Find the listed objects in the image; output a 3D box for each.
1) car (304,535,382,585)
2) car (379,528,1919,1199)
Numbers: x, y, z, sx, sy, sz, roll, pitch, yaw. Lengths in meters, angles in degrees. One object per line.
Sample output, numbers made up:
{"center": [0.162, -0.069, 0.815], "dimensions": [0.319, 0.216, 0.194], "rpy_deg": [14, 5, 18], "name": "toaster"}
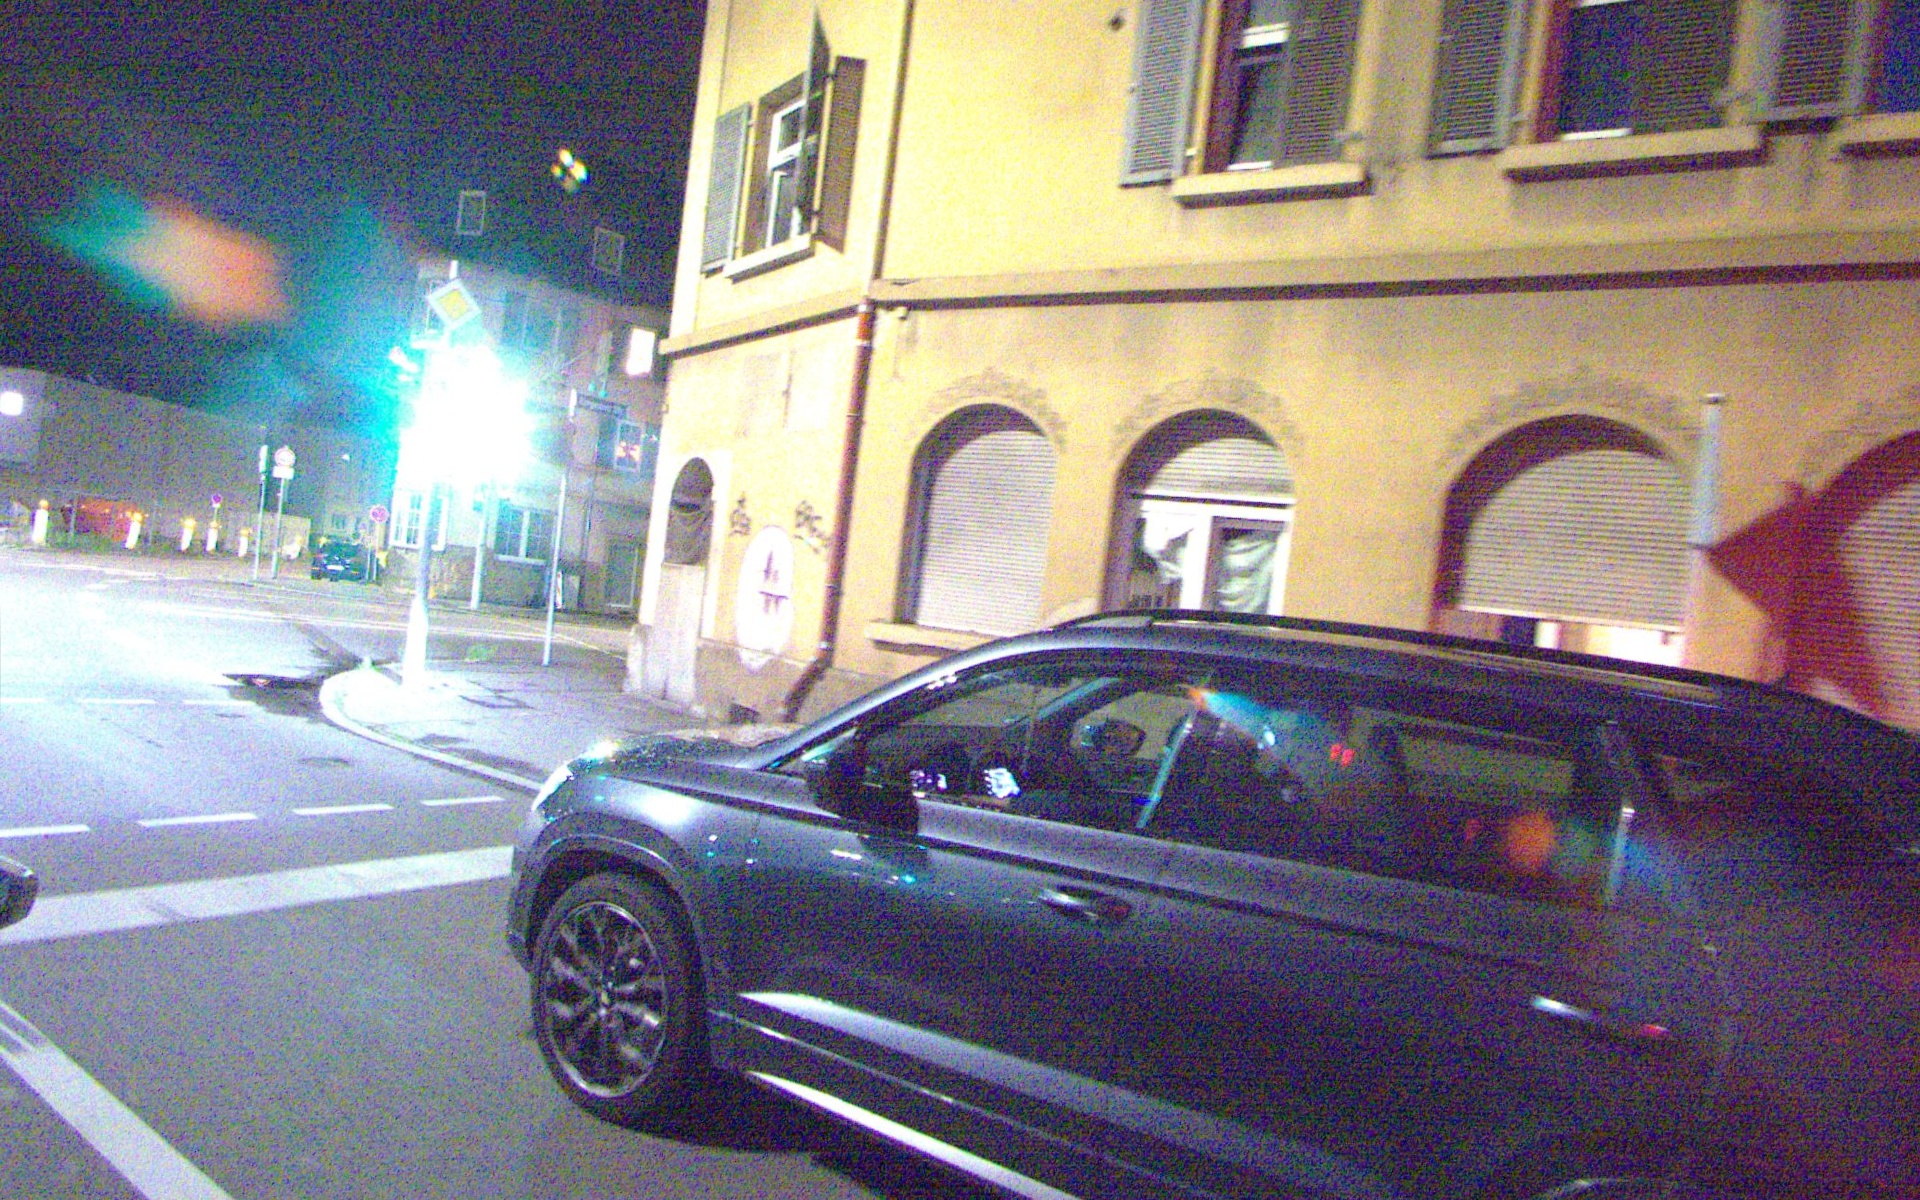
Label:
{"center": [-24.061, -1.521, 39.351], "dimensions": [1.708, 1.631, 3.610], "rpy_deg": [6, -1, -19], "name": "car"}
{"center": [0.493, 0.820, 2.838], "dimensions": [4.157, 1.629, 1.674], "rpy_deg": [5, -2, 29], "name": "car"}
